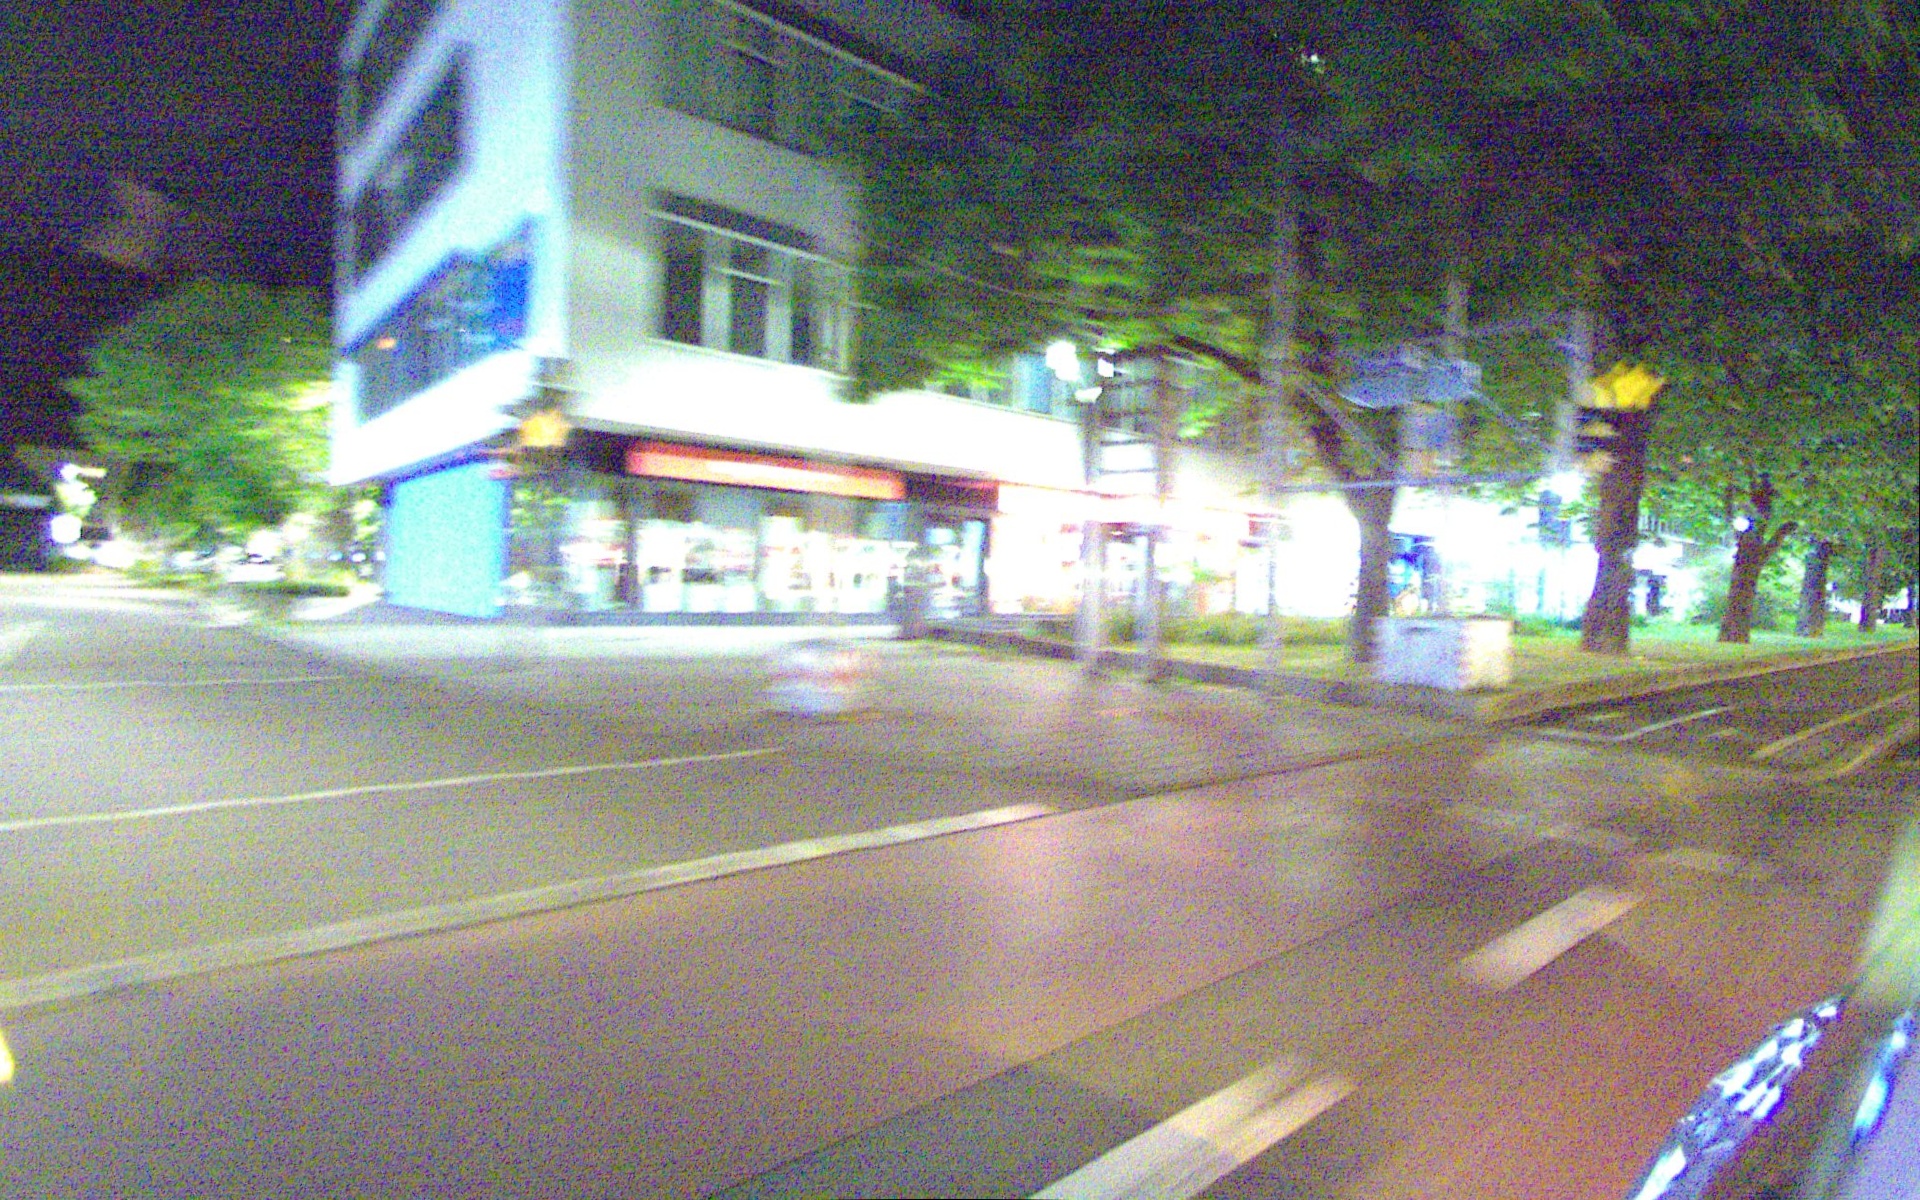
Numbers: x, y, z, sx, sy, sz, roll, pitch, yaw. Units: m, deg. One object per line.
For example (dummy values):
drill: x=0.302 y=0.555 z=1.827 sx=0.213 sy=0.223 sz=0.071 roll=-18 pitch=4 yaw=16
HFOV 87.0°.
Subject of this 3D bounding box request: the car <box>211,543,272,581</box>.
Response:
car: x=-30.082 y=-1.601 z=42.309 sx=1.696 sy=1.469 sz=3.995 roll=1 pitch=2 yaw=-41
